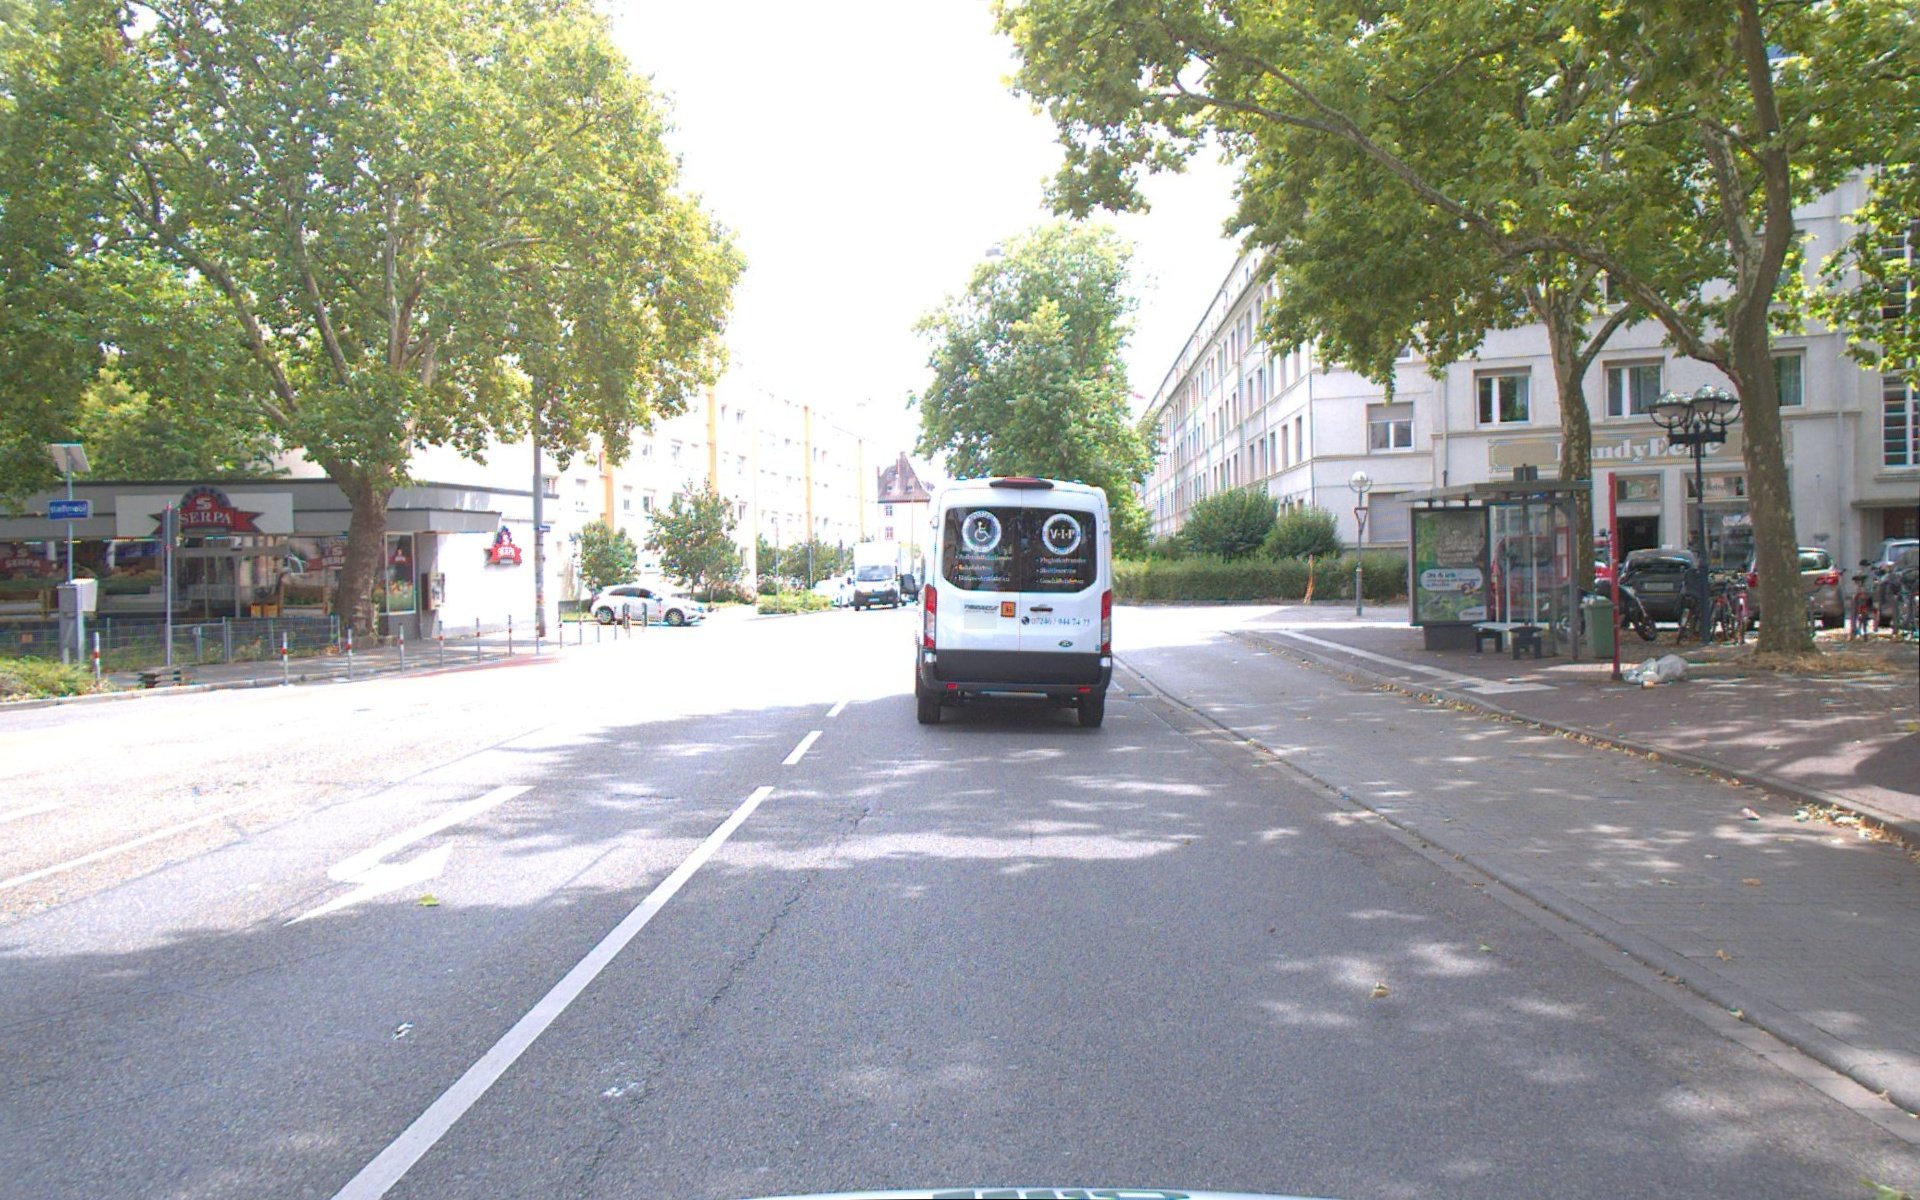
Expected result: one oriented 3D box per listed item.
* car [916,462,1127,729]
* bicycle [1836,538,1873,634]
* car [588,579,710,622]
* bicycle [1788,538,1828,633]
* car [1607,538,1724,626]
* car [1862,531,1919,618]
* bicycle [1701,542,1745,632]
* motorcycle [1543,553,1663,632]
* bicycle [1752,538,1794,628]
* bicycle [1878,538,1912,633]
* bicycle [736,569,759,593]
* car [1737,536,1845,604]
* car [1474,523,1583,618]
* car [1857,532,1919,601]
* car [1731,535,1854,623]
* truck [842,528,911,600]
[{"bbox_3d":[0.667,-0.107,18.629,2.027,2.584,4.636,1,1,2],"label":"car"},{"bbox_3d":[14.118,-0.248,26.093,0.411,1.402,2.307,-1,2,30],"label":"bicycle"},{"bbox_3d":[-11.538,-0.003,61.473,4.083,1.476,1.850,2,1,4],"label":"car"},{"bbox_3d":[13.518,-0.257,26.342,0.411,1.401,2.307,-1,3,30],"label":"bicycle"},{"bbox_3d":[13.709,-0.397,32.304,1.789,1.579,4.002,-1,2,19],"label":"car"},{"bbox_3d":[17.848,-0.524,29.991,1.952,1.489,4.002,-1,2,19],"label":"car"},{"bbox_3d":[12.538,-0.242,27.150,0.411,1.402,2.307,-1,2,30],"label":"bicycle"},{"bbox_3d":[10.716,-0.130,27.582,1.817,1.244,0.530,-2,2,-4],"label":"motorcycle"},{"bbox_3d":[13.178,-0.297,26.788,0.411,1.402,2.307,-1,2,30],"label":"bicycle"},{"bbox_3d":[14.582,-0.248,25.780,0.411,1.402,2.307,-1,2,30],"label":"bicycle"},{"bbox_3d":[-11.925,-1.085,92.739,0.566,1.272,1.936,-1,2,14],"label":"bicycle"},{"bbox_3d":[20.131,-0.768,40.216,1.953,1.530,4.195,-1,2,22],"label":"car"},{"bbox_3d":[11.295,-0.620,32.933,1.892,1.735,4.333,-1,2,19],"label":"car"},{"bbox_3d":[22.090,-0.814,38.128,1.953,1.513,4.195,-1,2,22],"label":"car"},{"bbox_3d":[15.371,-0.431,30.713,1.710,1.489,4.184,-1,2,23],"label":"car"},{"bbox_3d":[-3.912,-1.746,79.195,2.488,3.161,7.024,-3,1,2],"label":"truck"}]
